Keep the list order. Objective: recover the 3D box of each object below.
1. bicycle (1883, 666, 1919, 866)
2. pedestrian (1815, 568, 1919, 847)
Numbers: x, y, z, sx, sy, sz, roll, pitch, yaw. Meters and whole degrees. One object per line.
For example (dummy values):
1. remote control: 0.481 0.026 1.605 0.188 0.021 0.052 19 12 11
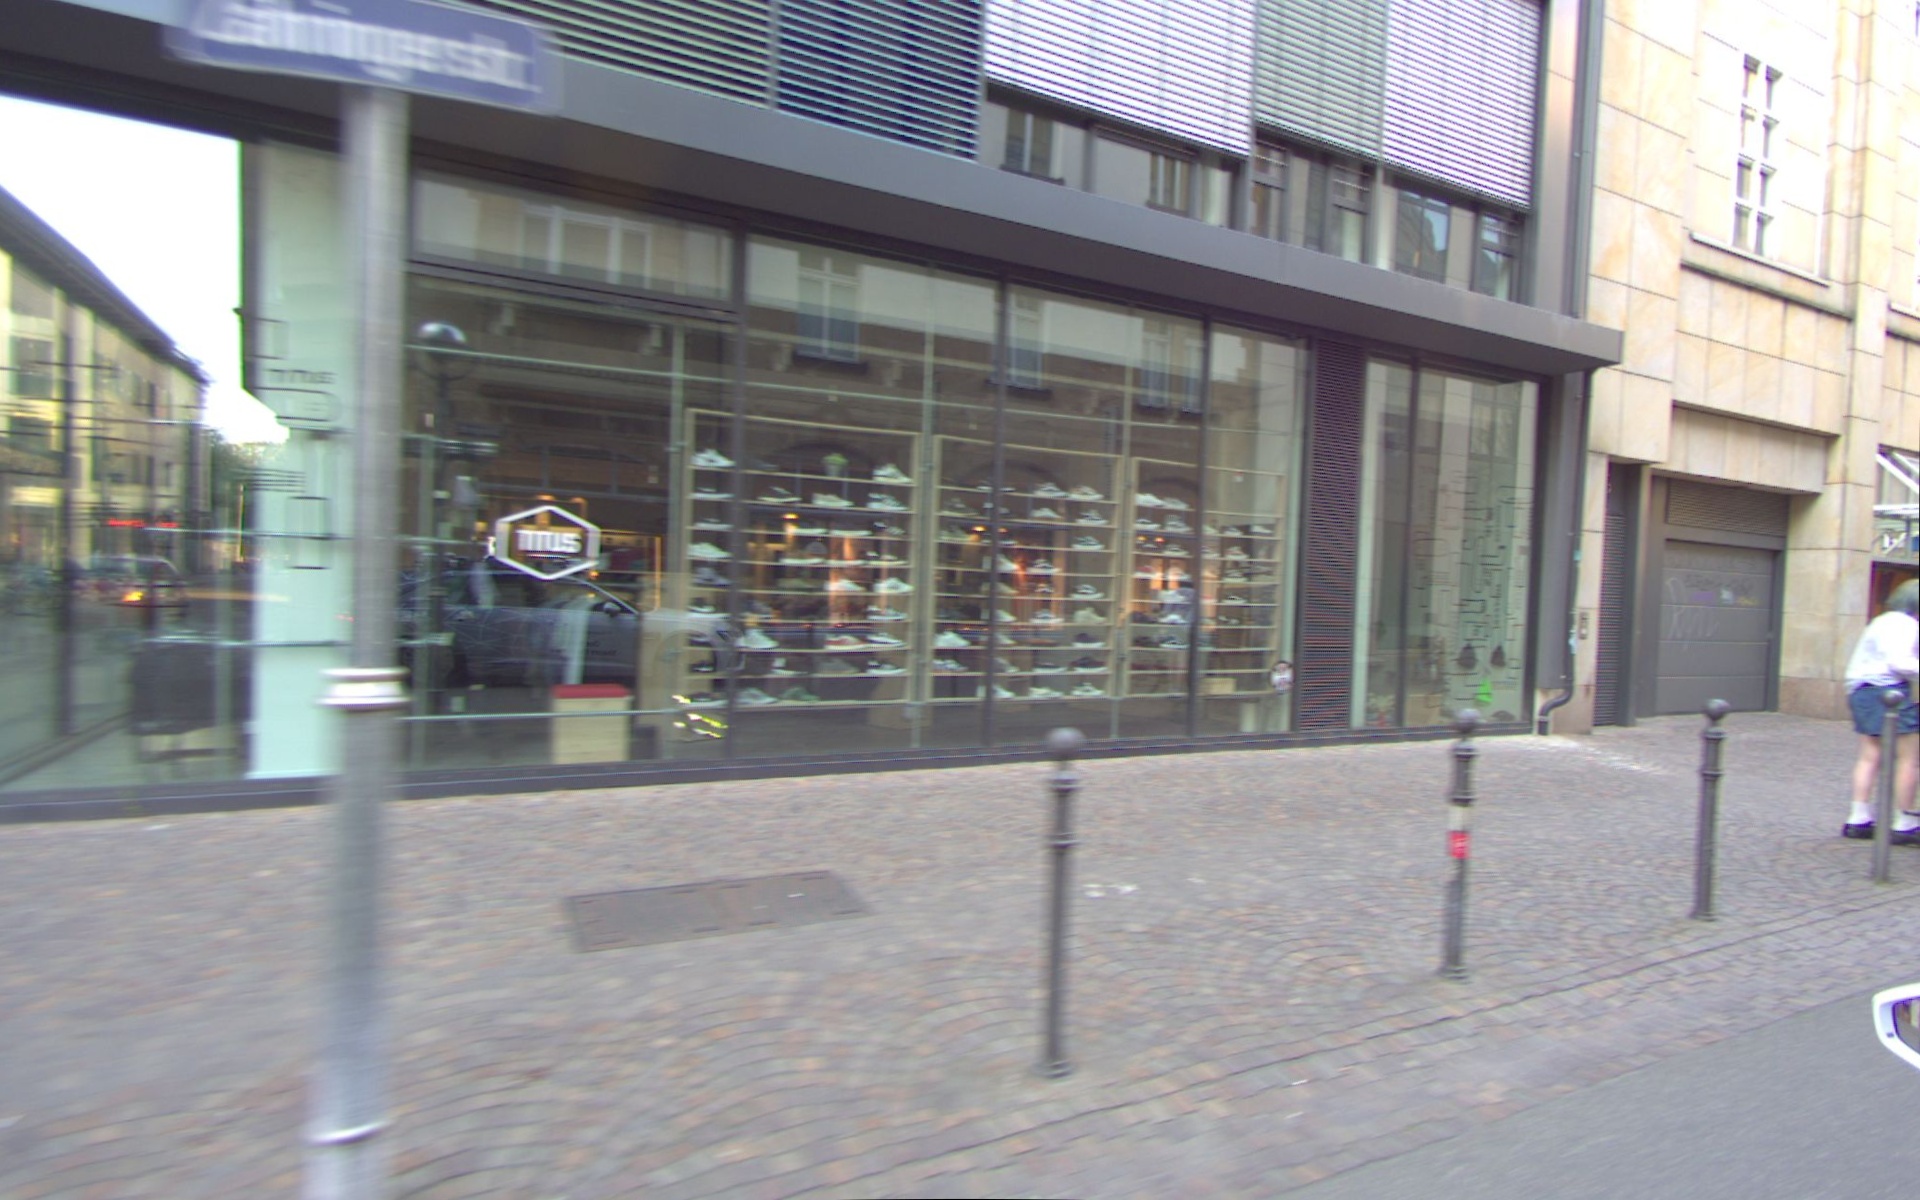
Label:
1. bicycle: 6.602 1.023 6.287 1.890 1.169 0.531 1 3 -27
2. pedestrian: 6.199 0.683 6.609 0.759 1.742 0.588 5 4 42
